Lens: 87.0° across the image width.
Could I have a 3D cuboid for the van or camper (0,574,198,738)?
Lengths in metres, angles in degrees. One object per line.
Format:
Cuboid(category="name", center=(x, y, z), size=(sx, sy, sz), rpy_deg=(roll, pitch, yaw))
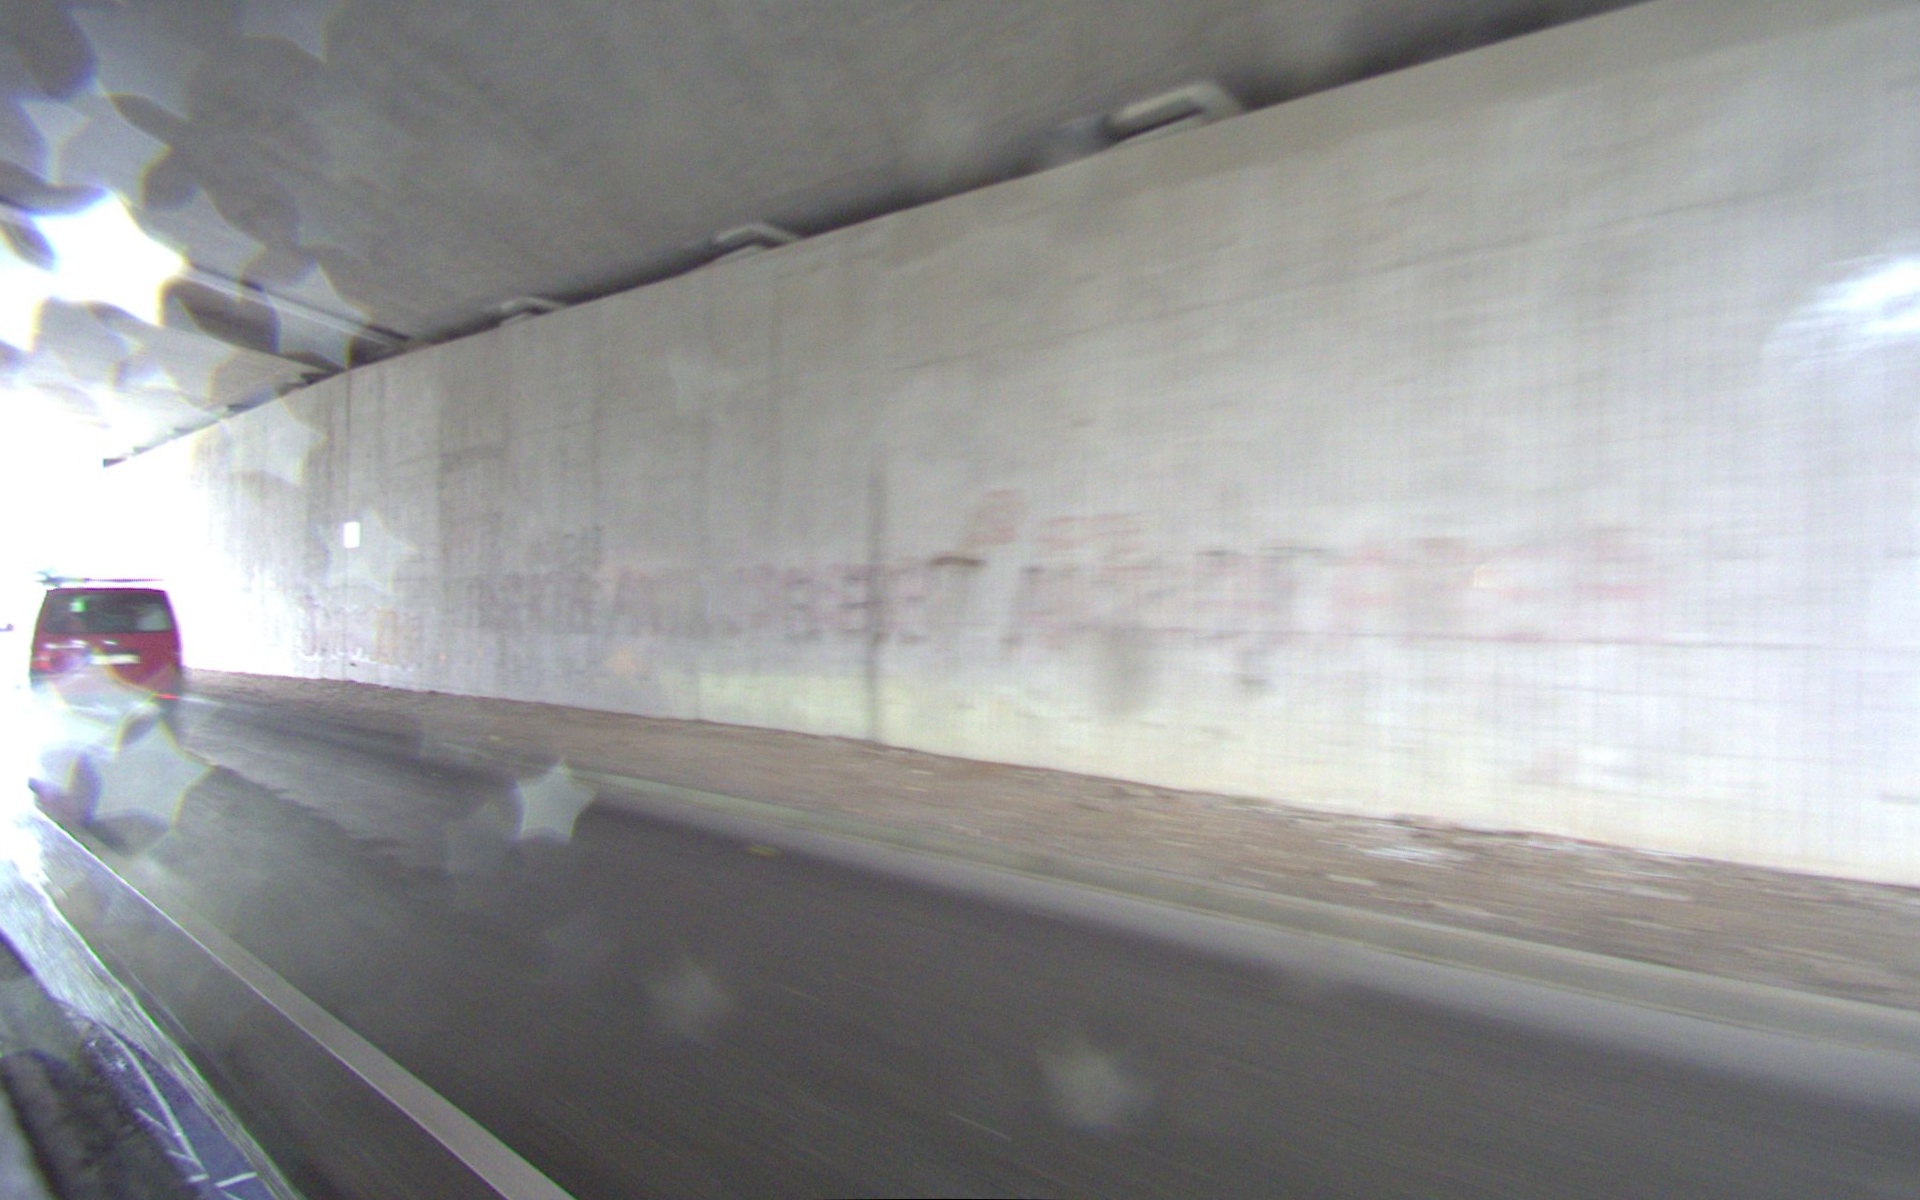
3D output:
Cuboid(category="van or camper", center=(-13.381, 0.749, 15.394), size=(4.690, 2.114, 1.972), rpy_deg=(-1, 0, 42))
